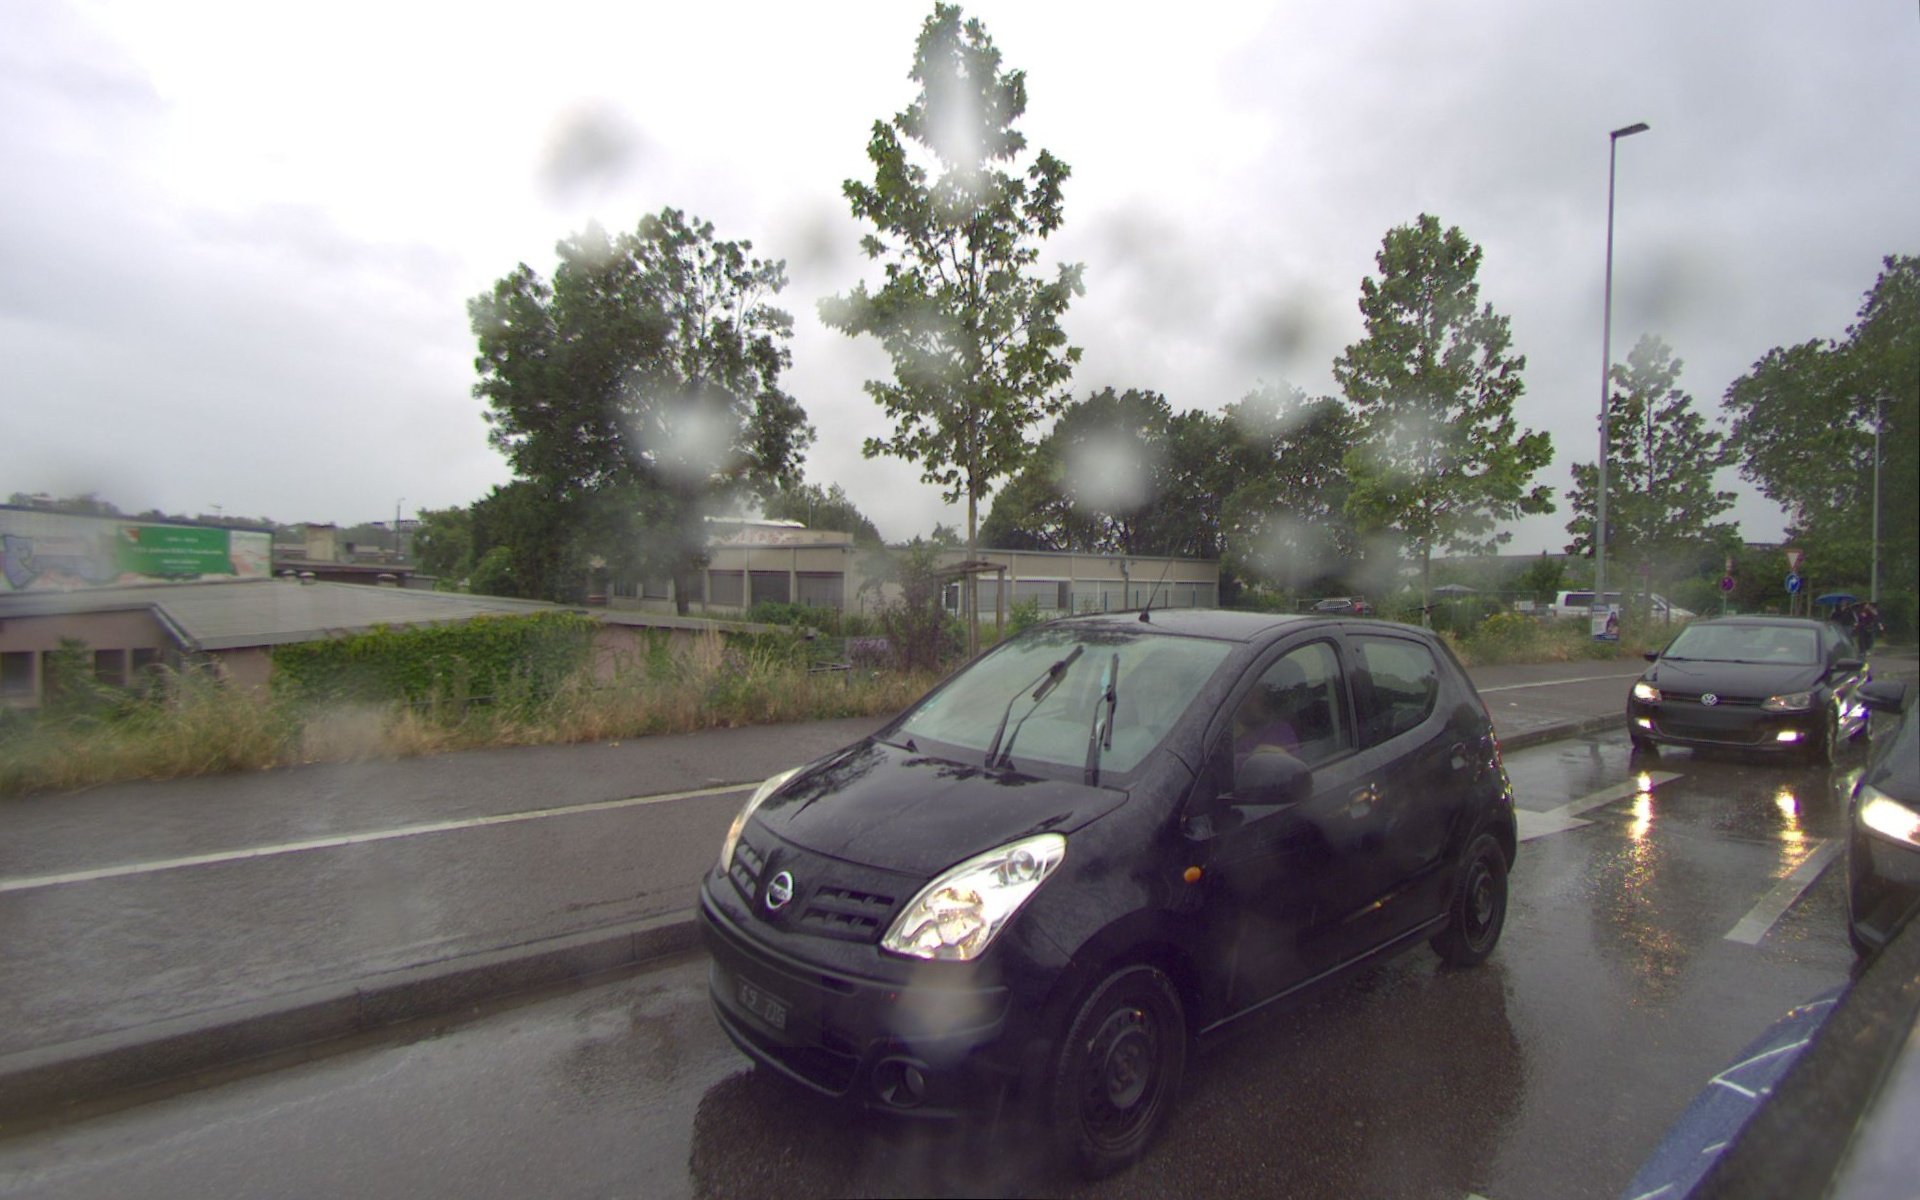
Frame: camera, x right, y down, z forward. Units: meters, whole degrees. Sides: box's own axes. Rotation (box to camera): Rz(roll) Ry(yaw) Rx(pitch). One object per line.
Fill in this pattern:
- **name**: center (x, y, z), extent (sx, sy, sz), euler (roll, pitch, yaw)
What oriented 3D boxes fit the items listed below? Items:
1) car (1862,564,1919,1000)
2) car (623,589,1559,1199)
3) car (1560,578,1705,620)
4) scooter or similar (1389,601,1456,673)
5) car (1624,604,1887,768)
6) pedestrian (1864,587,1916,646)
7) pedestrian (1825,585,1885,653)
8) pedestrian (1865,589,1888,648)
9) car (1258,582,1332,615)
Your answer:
- **car**: center (5.517, 0.652, 4.541), extent (4.091, 1.607, 1.688), euler (-1, 0, -41)
- **car**: center (0.771, 0.708, 3.865), extent (3.561, 1.447, 1.631), euler (0, 0, -42)
- **car**: center (28.095, -0.068, 42.424), extent (1.966, 1.670, 4.752), euler (-1, 1, -42)
- **scooter or similar**: center (7.906, 0.606, 17.257), extent (1.747, 1.144, 0.380), euler (-1, 2, -43)
- **car**: center (8.560, 0.774, 10.796), extent (3.561, 1.447, 1.631), euler (0, 0, -42)
- **pedestrian**: center (28.824, 0.501, 31.378), extent (0.876, 1.729, 1.024), euler (0, 3, -42)
- **pedestrian**: center (24.697, 0.495, 27.932), extent (0.953, 1.777, 1.081), euler (0, 3, -42)
- **pedestrian**: center (26.665, 0.540, 29.446), extent (0.433, 1.682, 0.400), euler (0, 3, -42)
- **car**: center (20.998, -0.111, 63.488), extent (1.964, 2.039, 3.996), euler (0, 0, -38)
